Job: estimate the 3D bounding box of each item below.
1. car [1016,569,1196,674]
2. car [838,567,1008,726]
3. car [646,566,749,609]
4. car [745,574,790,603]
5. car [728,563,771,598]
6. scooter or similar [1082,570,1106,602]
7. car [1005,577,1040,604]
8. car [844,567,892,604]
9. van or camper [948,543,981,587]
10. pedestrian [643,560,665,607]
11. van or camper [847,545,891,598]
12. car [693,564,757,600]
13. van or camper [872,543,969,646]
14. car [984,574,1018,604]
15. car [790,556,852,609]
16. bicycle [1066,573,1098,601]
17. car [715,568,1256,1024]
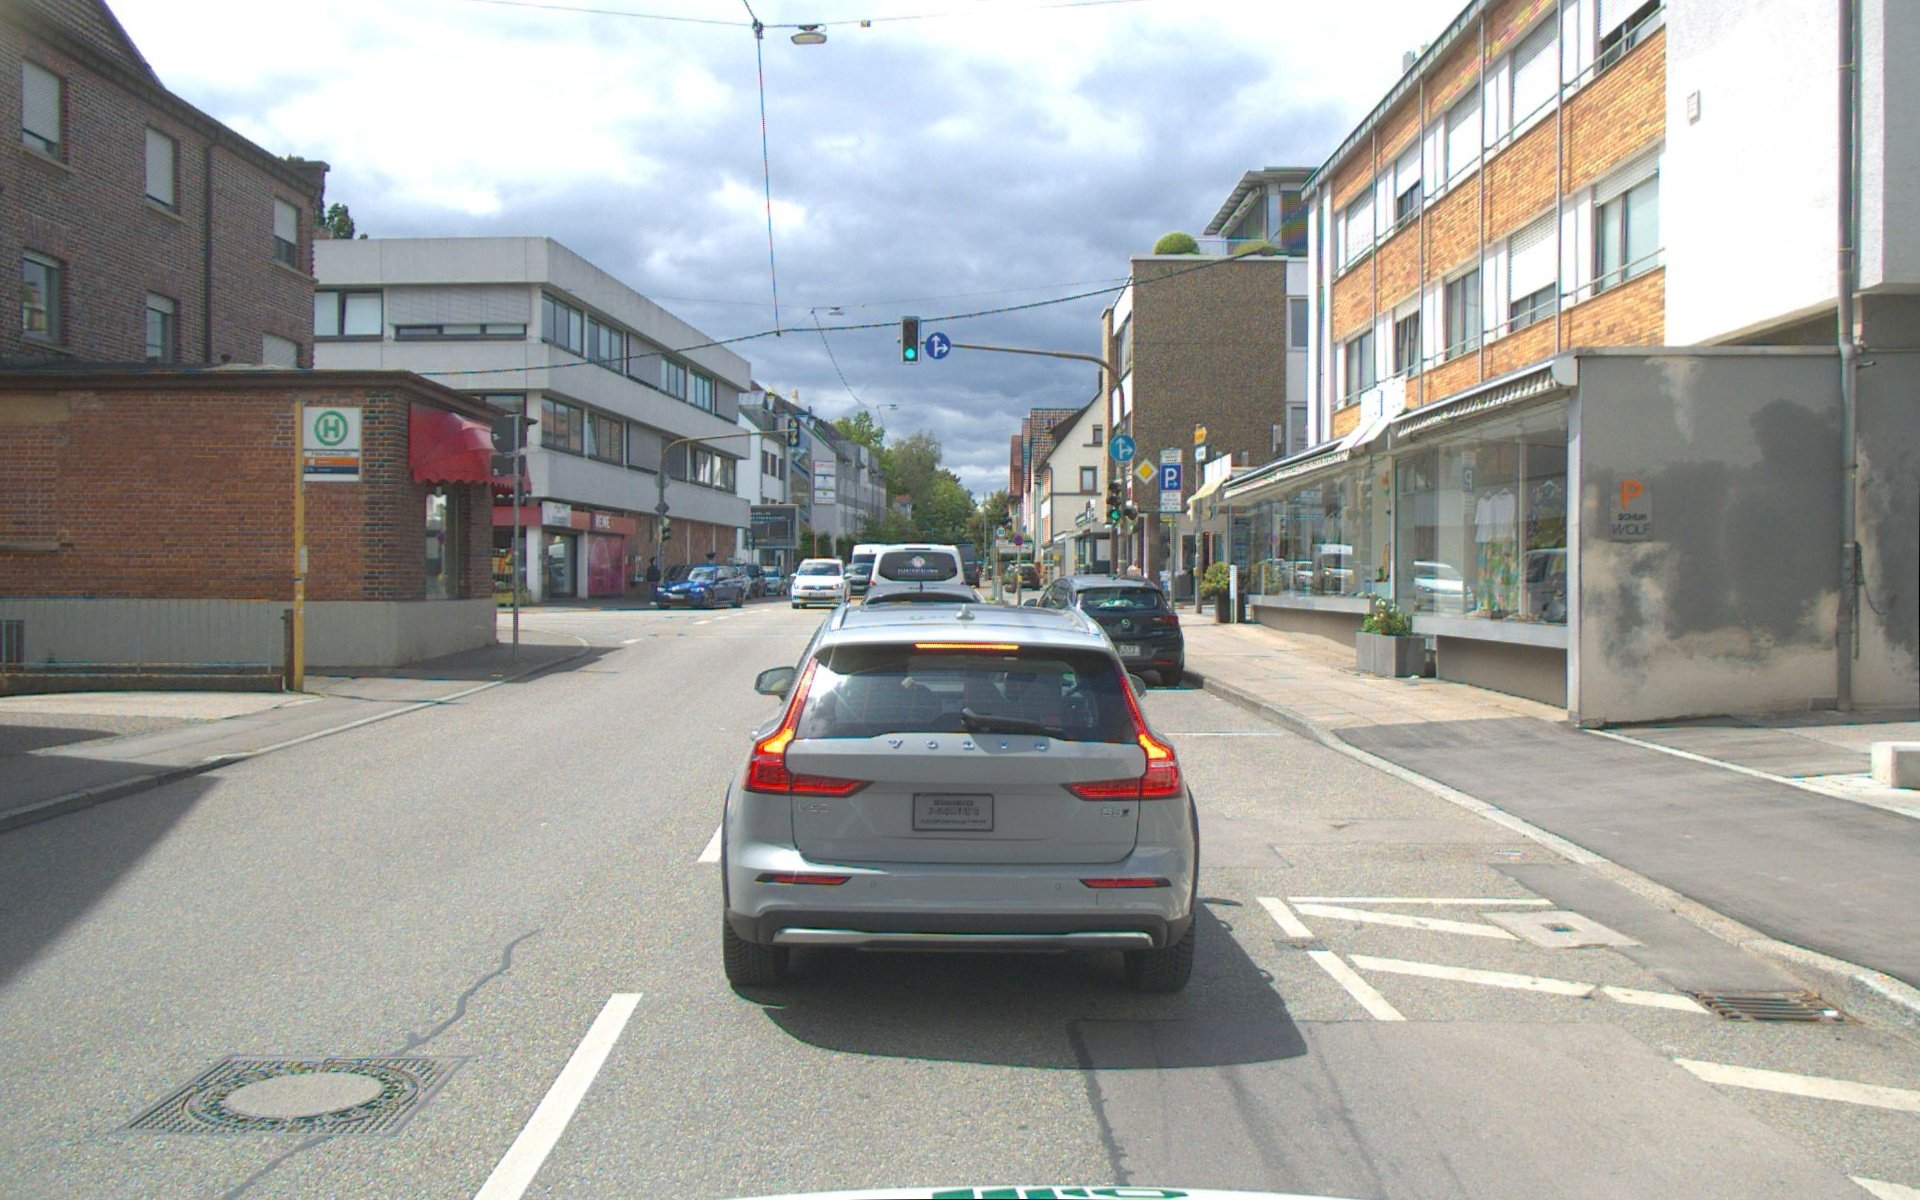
[{"bbox_3d":[1.985,0.267,23.533,1.773,1.370,3.711,0,0,-8],"label":"car"},{"bbox_3d":[-0.377,0.431,17.718,1.617,1.508,3.607,1,1,-1],"label":"car"},{"bbox_3d":[-8.842,-0.451,56.175,1.951,1.361,4.360,0,1,13],"label":"car"},{"bbox_3d":[-9.713,-0.580,83.683,1.719,1.451,3.863,0,0,2],"label":"car"},{"bbox_3d":[-9.843,-0.945,77.547,1.574,1.570,2.945,2,1,0],"label":"car"},{"bbox_3d":[5.405,-0.553,66.957,0.336,1.275,1.235,-3,0,-26],"label":"scooter or similar"},{"bbox_3d":[3.593,-0.524,95.306,1.676,1.490,3.998,1,0,-2],"label":"car"},{"bbox_3d":[-3.970,-0.635,72.064,1.753,1.537,3.846,0,0,2],"label":"car"},{"bbox_3d":[0.283,-2.274,107.043,2.080,2.733,4.782,-1,1,0],"label":"van or camper"},{"bbox_3d":[-10.897,-0.583,58.900,0.606,1.670,0.660,-1,1,1],"label":"pedestrian"},{"bbox_3d":[-4.641,-1.511,84.830,2.105,2.600,5.436,-1,2,-2],"label":"van or camper"},{"bbox_3d":[-10.131,-0.792,71.647,1.864,1.468,4.446,1,1,4],"label":"car"},{"bbox_3d":[-0.757,-0.172,32.488,1.782,1.866,4.000,0,2,-1],"label":"van or camper"},{"bbox_3d":[1.844,-0.510,74.865,1.409,1.310,3.247,0,0,-1],"label":"car"},{"bbox_3d":[-4.626,-0.618,55.547,1.739,1.640,4.120,-1,2,-1],"label":"car"},{"bbox_3d":[5.179,-0.581,70.314,0.546,1.164,2.288,-1,1,-18],"label":"bicycle"},{"bbox_3d":[0.059,0.648,7.500,1.798,1.512,3.999,0,0,-1],"label":"car"}]
